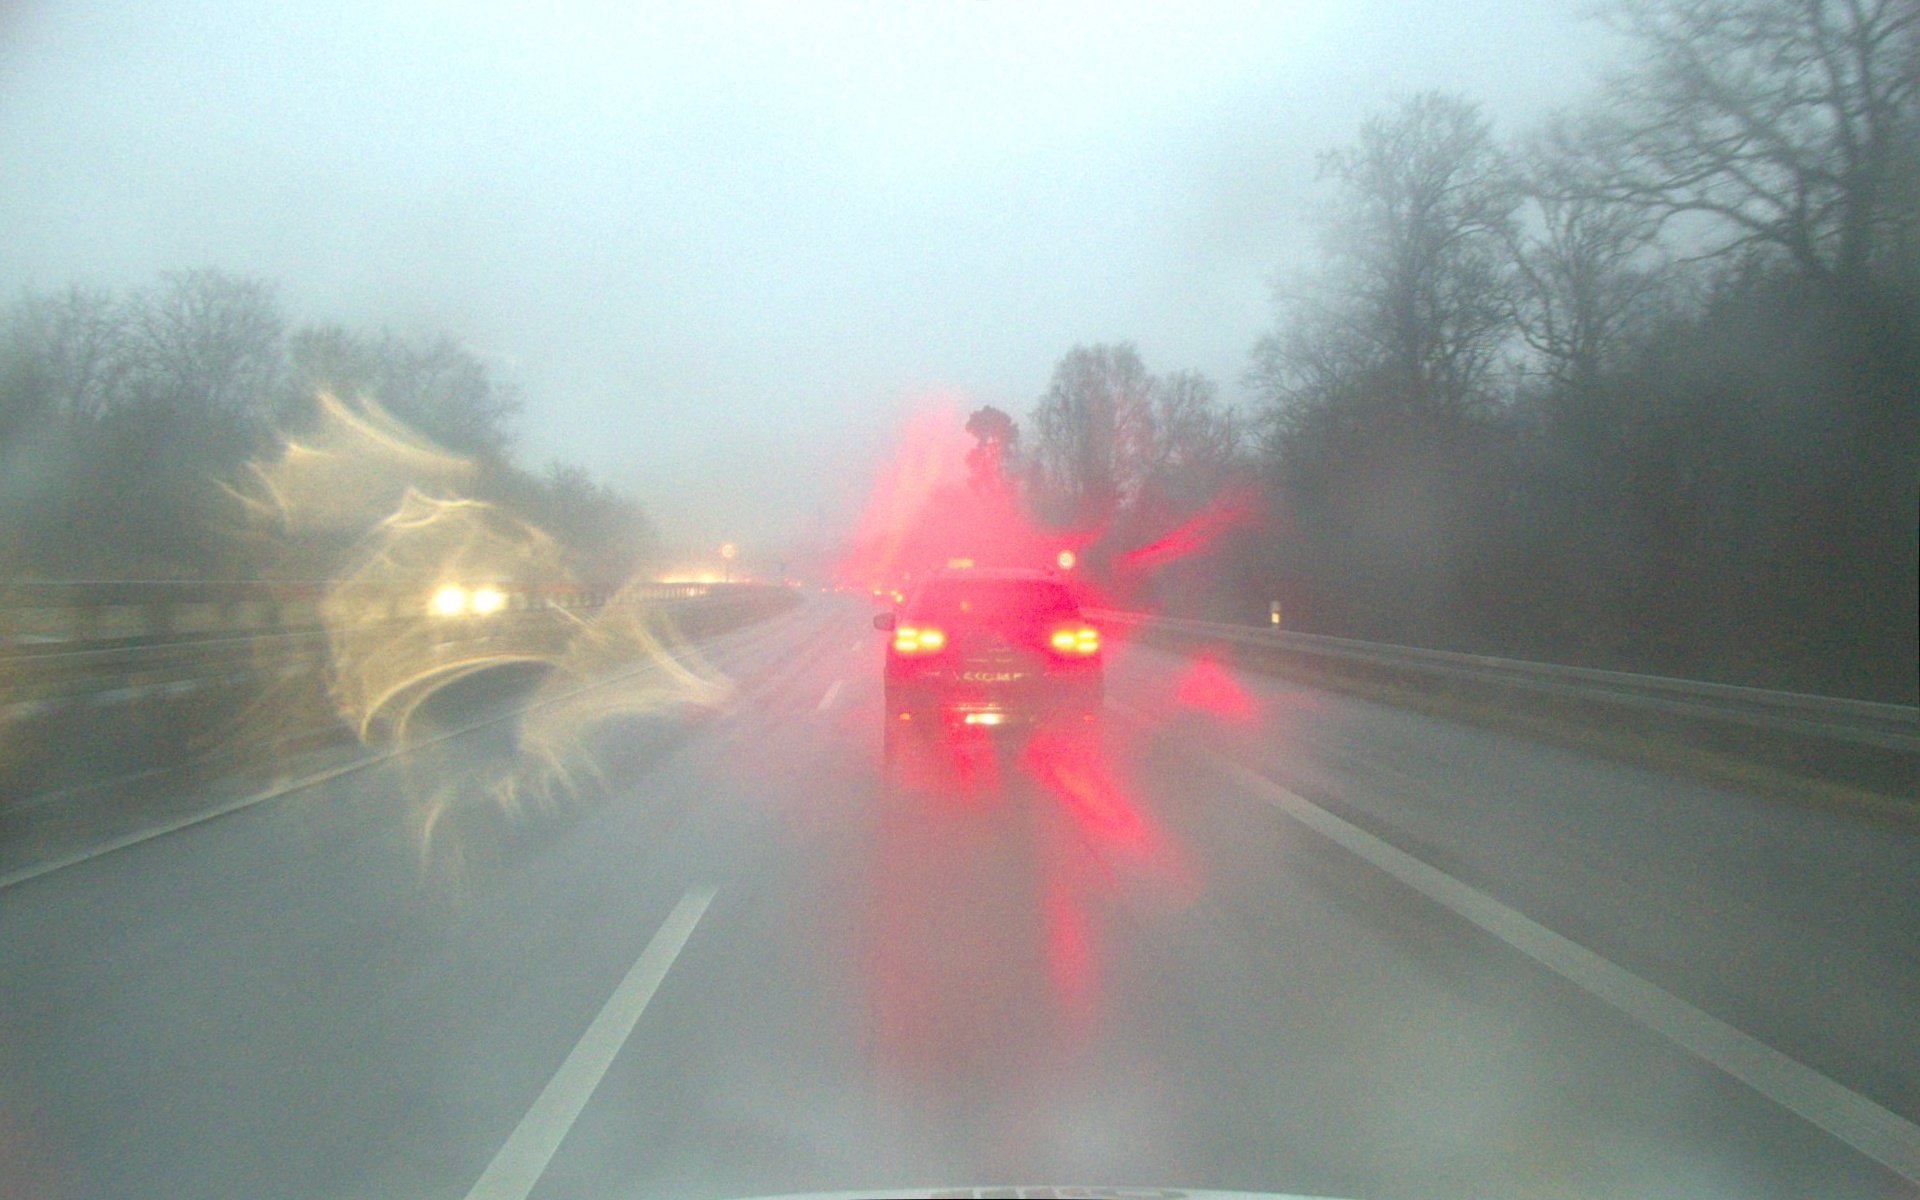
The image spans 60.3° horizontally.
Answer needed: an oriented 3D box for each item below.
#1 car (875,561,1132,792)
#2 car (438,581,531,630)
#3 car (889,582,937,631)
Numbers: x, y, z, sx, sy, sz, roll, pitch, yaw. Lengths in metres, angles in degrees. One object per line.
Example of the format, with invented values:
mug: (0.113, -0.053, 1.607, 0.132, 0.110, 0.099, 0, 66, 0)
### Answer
car: (0.274, 0.581, 14.591, 1.952, 1.745, 3.828, 1, 0, -2)
car: (-16.580, 0.158, 57.920, 1.953, 1.617, 4.957, 0, 0, -2)
car: (-2.078, 0.275, 72.100, 1.954, 2.049, 3.998, 1, 0, -3)
